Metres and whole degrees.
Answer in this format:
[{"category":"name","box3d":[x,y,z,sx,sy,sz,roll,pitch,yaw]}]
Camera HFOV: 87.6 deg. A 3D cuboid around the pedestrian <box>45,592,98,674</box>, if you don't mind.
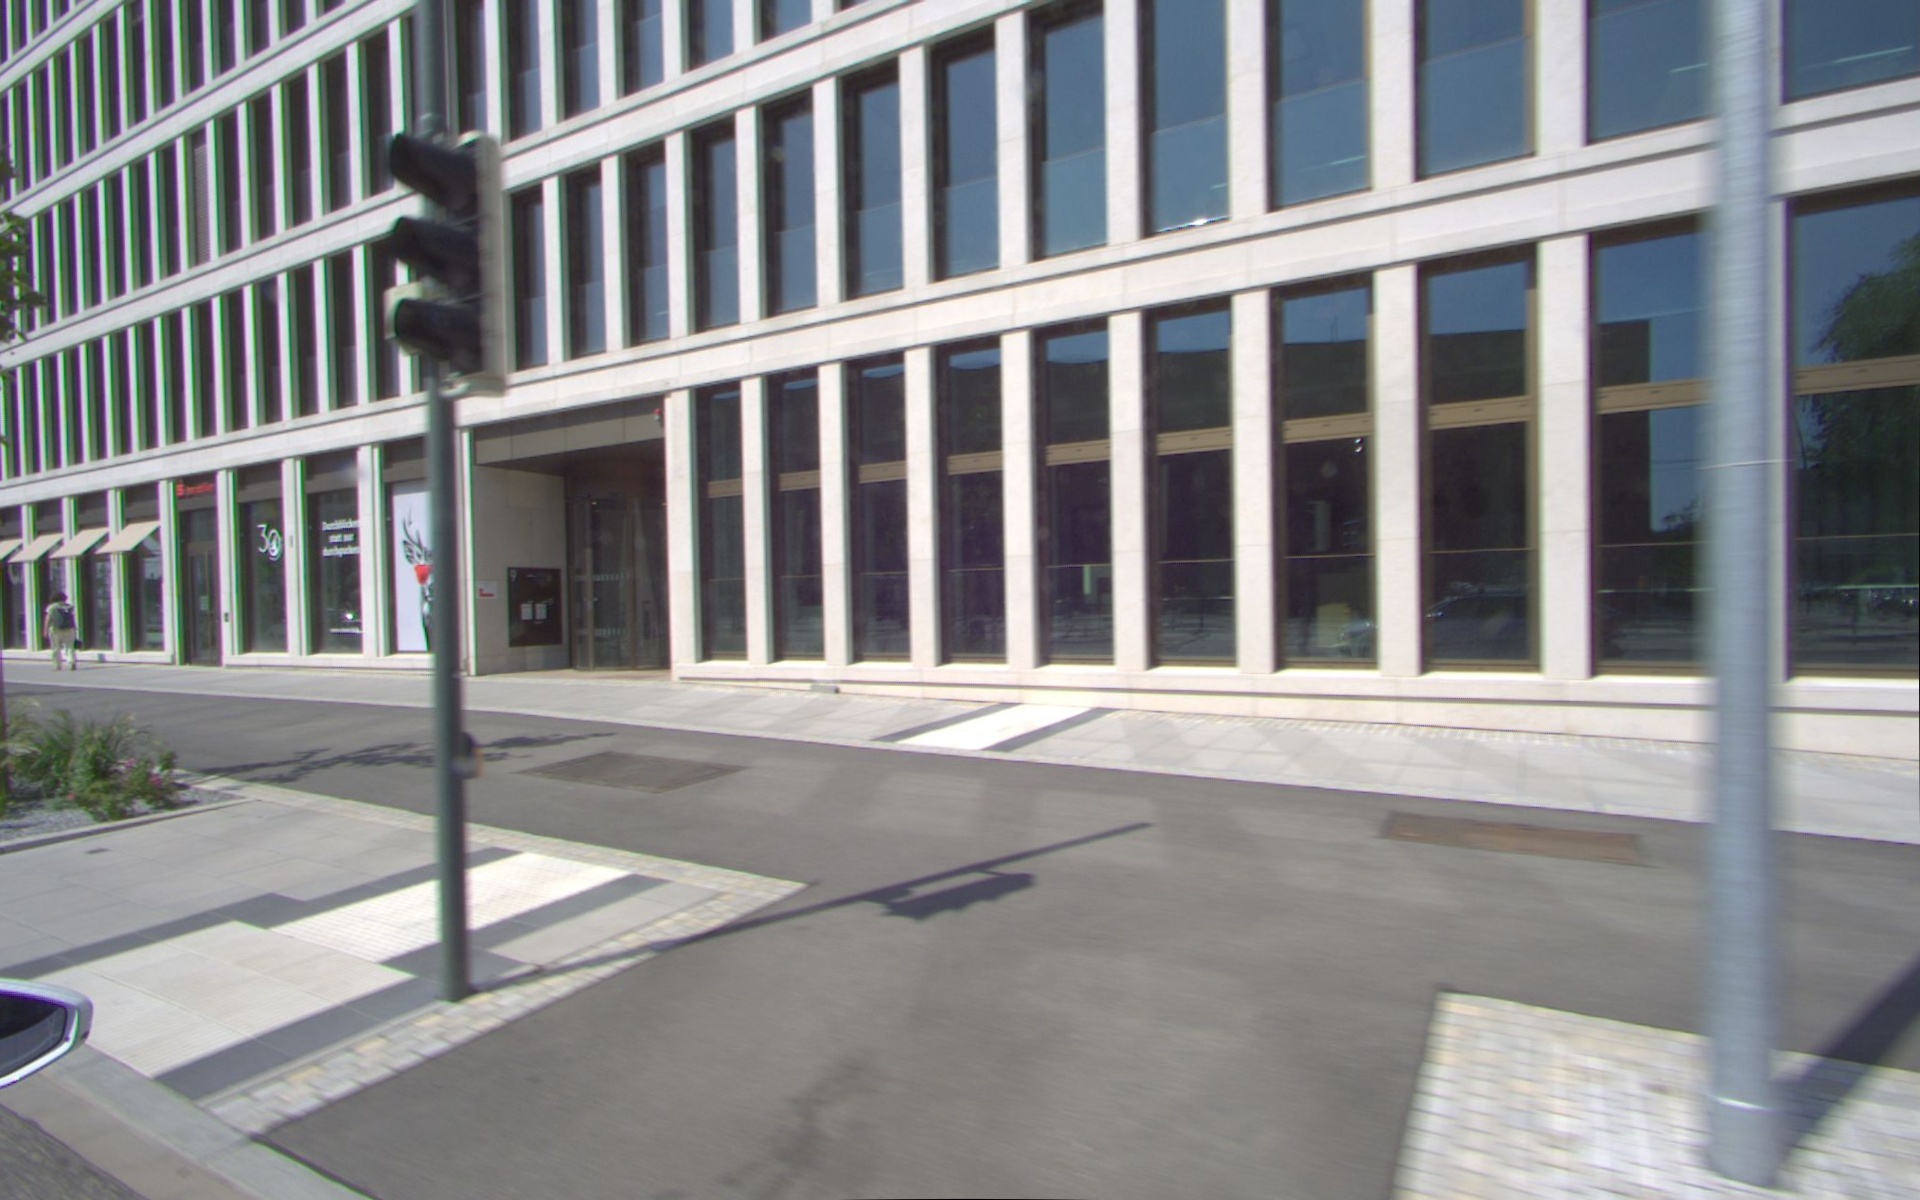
[{"category":"pedestrian","box3d":[-19.521,0.718,21.998,0.802,1.765,0.626,-1,1,31]}]
